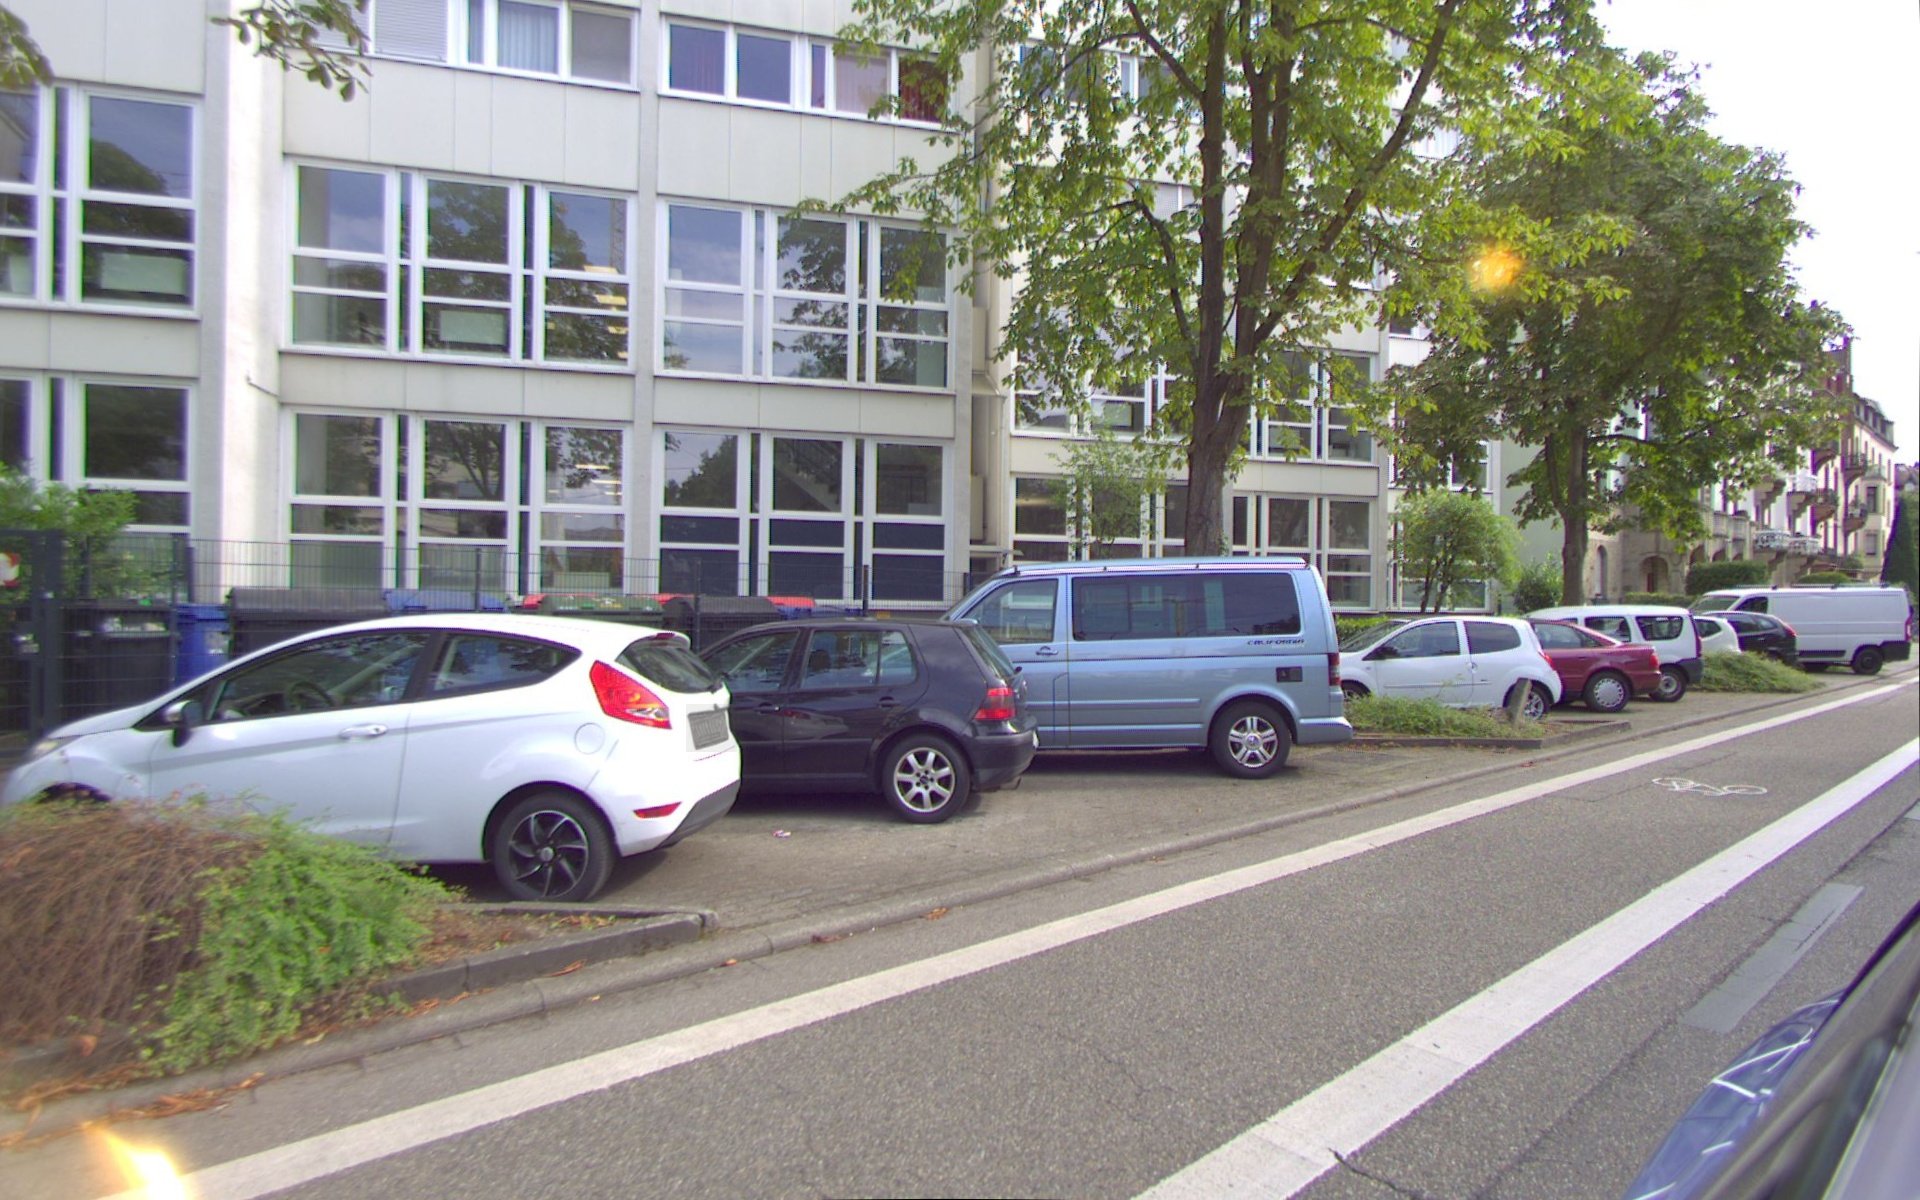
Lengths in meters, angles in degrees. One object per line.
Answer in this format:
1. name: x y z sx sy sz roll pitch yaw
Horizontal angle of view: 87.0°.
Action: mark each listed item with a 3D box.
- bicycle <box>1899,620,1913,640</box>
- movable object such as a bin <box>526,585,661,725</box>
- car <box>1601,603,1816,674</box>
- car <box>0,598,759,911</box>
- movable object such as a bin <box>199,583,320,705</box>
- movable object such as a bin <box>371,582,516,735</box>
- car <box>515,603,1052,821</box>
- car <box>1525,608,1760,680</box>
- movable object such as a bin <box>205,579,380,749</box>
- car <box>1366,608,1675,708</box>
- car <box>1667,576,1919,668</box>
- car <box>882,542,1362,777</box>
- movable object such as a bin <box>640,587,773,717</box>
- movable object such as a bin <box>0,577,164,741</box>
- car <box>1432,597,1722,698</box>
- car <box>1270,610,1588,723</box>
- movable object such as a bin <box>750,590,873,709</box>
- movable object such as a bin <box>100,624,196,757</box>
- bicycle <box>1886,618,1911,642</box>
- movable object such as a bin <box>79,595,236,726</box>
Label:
1. bicycle: 41.617 1.315 44.518 1.177 0.863 0.278 0 1 -40
2. movable object such as a bin: -4.286 0.611 11.844 1.192 1.527 1.071 1 -1 -40
3. car: 18.176 0.909 24.724 3.890 1.670 1.687 0 0 5
4. car: -3.193 0.734 5.736 3.759 1.478 1.639 0 0 3
5. movable object such as a bin: -9.497 0.579 13.776 1.056 1.582 1.037 0 -1 -16
6. movable object such as a bin: -5.594 0.597 10.962 1.192 1.527 1.071 1 -1 -40
7. car: -1.216 0.765 7.854 3.759 1.478 1.675 0 0 3
8. car: 15.144 0.945 22.631 4.020 1.530 1.687 0 0 5
9. movable object such as a bin: -6.552 0.581 9.940 1.310 1.527 1.071 1 -1 -40
10. car: 8.719 0.868 16.046 3.908 1.451 1.686 0 0 8
11. car: 22.134 0.560 26.900 4.874 2.319 2.380 0 0 7
12. car: 1.458 0.515 9.883 4.200 2.040 1.829 0 0 5
13. movable object such as a bin: -3.198 0.626 12.788 1.299 1.527 1.071 1 -1 -40
14. movable object such as a bin: -8.878 0.561 10.142 1.056 1.543 1.121 0 -1 -16
15. car: 10.817 0.797 17.982 4.035 1.689 1.687 0 0 5
16. car: 6.406 0.877 14.177 3.651 1.451 1.687 0 0 5
17. movable object such as a bin: -2.031 0.641 13.822 1.299 1.527 1.071 1 -1 -40
18. movable object such as a bin: -7.163 0.773 8.958 0.561 1.117 0.653 1 -1 -31
19. bicycle: 39.031 1.249 42.103 1.634 0.918 0.487 0 1 -38
20. movable object such as a bin: -8.970 0.650 11.379 1.056 1.385 1.037 0 -1 -16
